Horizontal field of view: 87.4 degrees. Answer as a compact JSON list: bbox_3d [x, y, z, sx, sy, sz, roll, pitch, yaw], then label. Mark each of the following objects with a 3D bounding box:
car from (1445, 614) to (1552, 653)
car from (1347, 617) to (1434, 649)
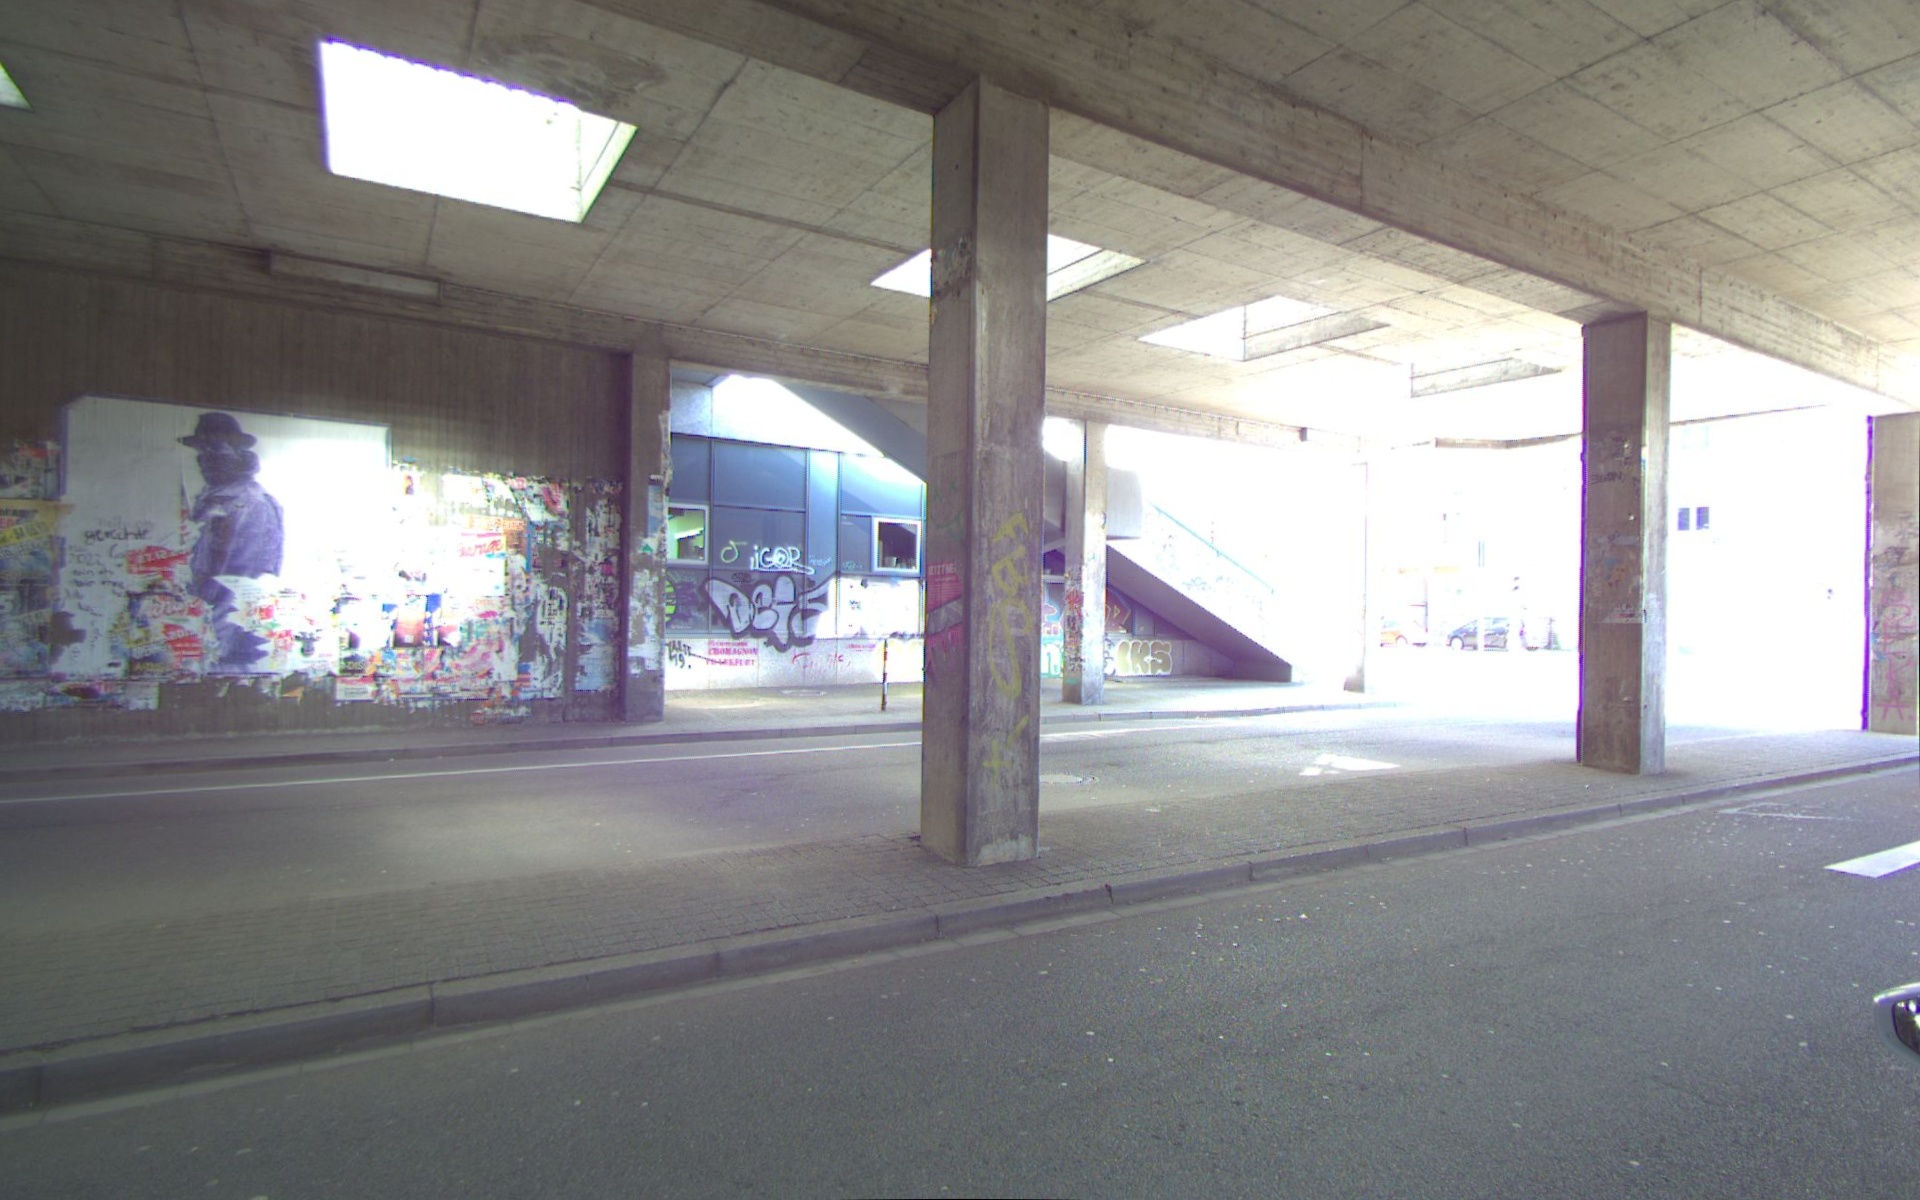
[{"bbox_3d":[25.474,1.550,47.635,1.939,1.747,4.141,0,0,-29],"label":"car"},{"bbox_3d":[22.514,1.700,52.609,1.876,1.561,3.861,0,0,-29],"label":"car"}]
